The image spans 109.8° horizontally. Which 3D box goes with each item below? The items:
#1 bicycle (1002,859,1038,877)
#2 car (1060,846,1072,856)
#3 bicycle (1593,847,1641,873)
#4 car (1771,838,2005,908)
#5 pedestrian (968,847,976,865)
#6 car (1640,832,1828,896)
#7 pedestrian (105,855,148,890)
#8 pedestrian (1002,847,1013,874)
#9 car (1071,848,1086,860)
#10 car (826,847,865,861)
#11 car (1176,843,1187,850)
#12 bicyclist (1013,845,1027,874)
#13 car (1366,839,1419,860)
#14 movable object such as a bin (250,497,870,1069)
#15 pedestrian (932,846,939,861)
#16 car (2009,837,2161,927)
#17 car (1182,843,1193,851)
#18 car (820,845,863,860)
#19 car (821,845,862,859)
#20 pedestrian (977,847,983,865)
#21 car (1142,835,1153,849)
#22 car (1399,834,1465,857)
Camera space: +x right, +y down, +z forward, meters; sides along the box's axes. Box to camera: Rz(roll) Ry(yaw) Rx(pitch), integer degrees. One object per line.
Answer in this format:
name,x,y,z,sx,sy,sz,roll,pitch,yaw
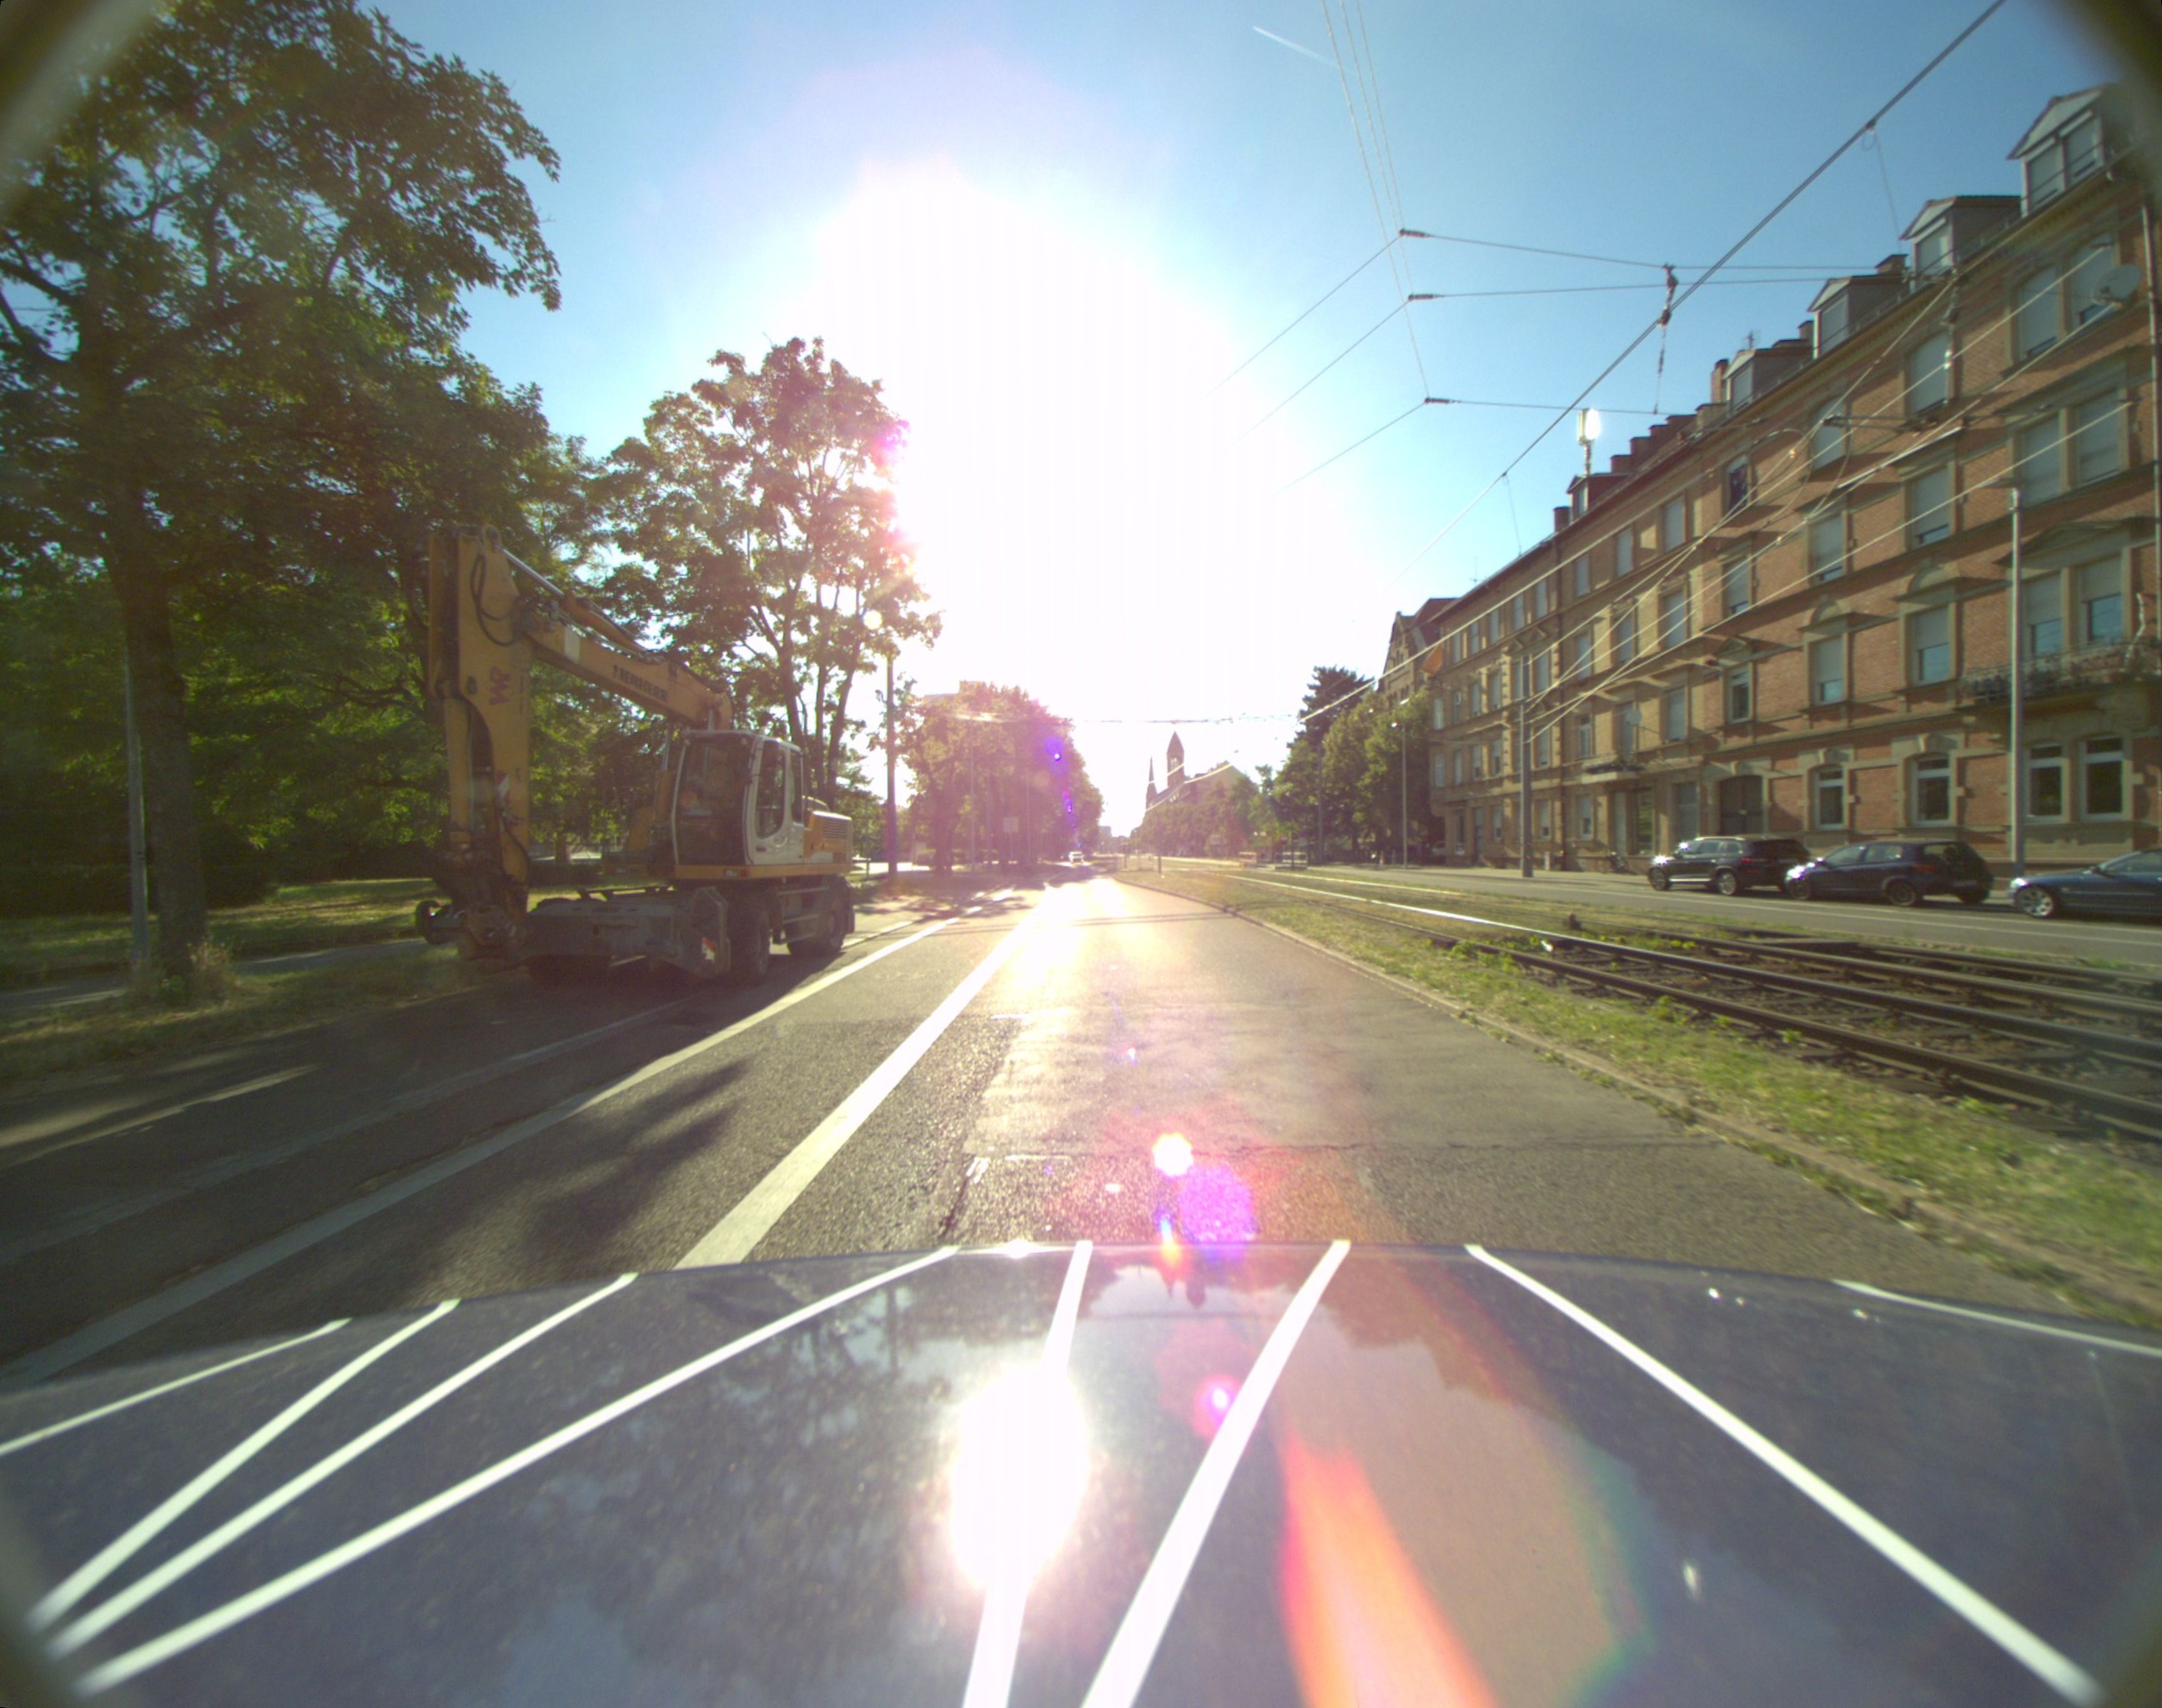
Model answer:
bicycle,-3.704,0.857,46.161,2.061,0.973,0.722,-3,1,-2
car,-2.387,-0.440,121.530,1.798,1.501,4.000,-3,0,1
bicycle,22.606,0.242,32.086,0.591,0.998,2.010,-3,2,-1
car,19.127,0.384,18.282,1.663,1.437,3.765,-3,1,1
pedestrian,-11.344,0.216,79.026,0.645,1.830,0.565,-1,1,-1
car,19.194,0.231,22.663,1.798,1.633,4.631,-3,1,4
pedestrian,-50.590,0.967,40.297,0.827,1.746,1.027,-3,2,-9
pedestrian,-4.599,0.391,47.563,0.532,1.653,0.486,0,1,-21
car,-0.336,0.020,99.590,1.798,1.501,4.000,-3,0,1
car,-28.266,-0.069,91.141,4.393,1.616,1.797,-1,1,-21
car,21.867,-1.589,165.914,1.799,1.501,3.999,-1,1,0
bicyclist,-3.696,0.306,46.162,0.746,1.704,0.722,-3,1,-2
car,25.992,-0.387,63.423,3.991,1.502,1.802,-2,2,22
movable object such as a bin,-5.326,-0.601,10.005,2.922,4.584,7.596,2,1,-1
pedestrian,-13.390,-0.048,69.794,0.550,1.434,0.513,-1,1,-1
car,18.939,0.464,12.742,1.663,1.437,4.196,-3,1,1
car,21.821,-1.444,155.588,1.799,1.501,3.999,-1,1,0
car,-26.927,-0.228,85.418,4.393,1.616,1.797,-1,1,-21
car,-27.870,-0.258,88.509,4.393,1.616,1.797,-1,1,-21
pedestrian,-10.470,0.211,78.965,0.502,1.830,0.565,-1,1,-1
car,13.595,-2.375,155.532,1.799,2.766,3.999,-1,1,1
car,30.147,-0.715,65.347,5.058,1.814,2.025,-1,2,26
